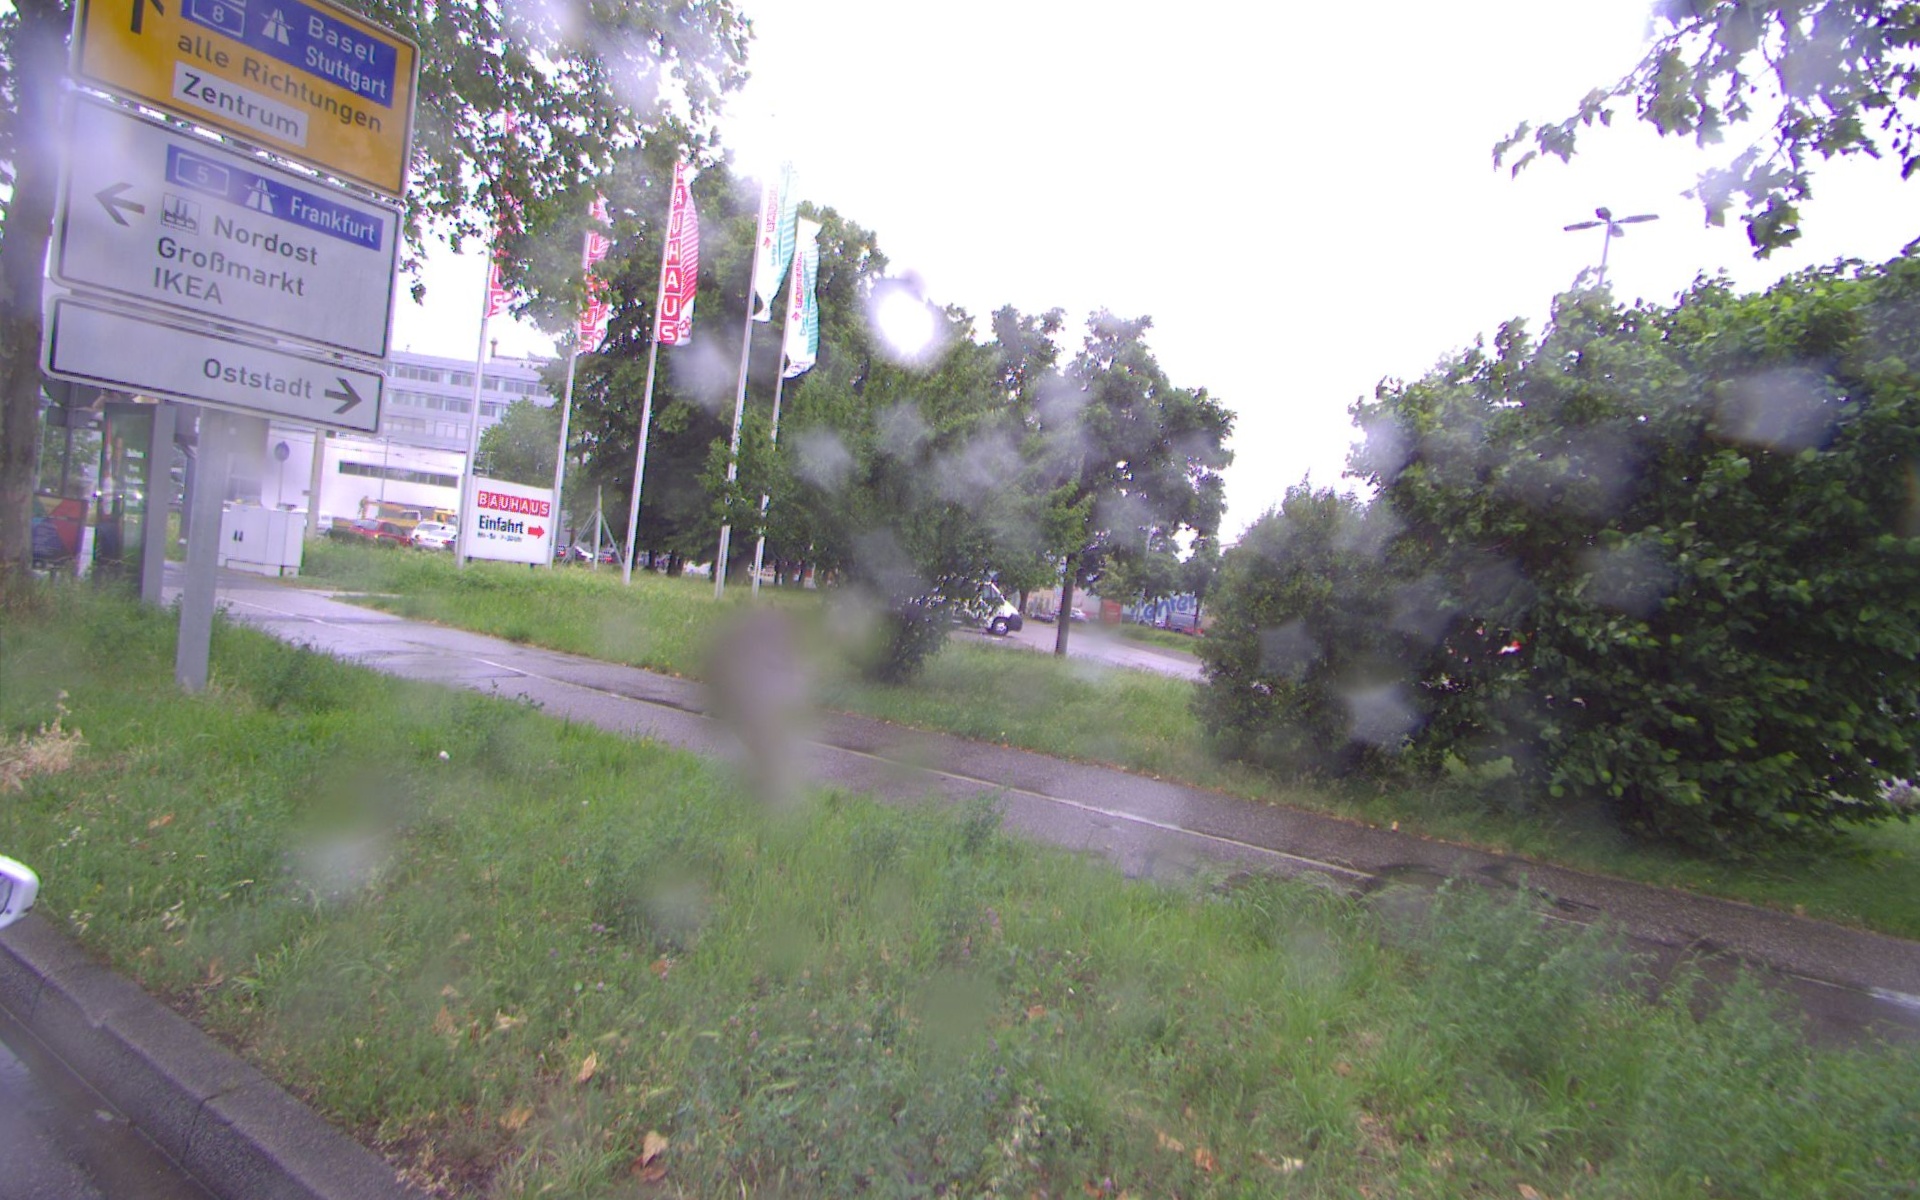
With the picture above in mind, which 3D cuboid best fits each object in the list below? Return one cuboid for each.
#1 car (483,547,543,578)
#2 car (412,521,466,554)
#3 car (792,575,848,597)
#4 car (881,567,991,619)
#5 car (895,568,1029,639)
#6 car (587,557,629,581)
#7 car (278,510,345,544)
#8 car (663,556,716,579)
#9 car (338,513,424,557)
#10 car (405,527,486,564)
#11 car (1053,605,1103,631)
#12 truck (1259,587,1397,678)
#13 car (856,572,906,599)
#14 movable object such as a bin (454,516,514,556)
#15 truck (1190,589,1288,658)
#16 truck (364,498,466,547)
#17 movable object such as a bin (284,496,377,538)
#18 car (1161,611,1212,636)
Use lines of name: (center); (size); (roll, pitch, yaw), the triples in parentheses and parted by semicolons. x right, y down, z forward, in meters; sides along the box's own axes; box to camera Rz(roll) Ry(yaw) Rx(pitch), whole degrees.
car: (-28.699, -2.374, 64.705); (1.892, 1.606, 4.622); (6, 0, -3)
car: (-41.108, -4.892, 79.444); (1.964, 2.152, 4.684); (6, 0, -5)
car: (-15.412, -1.585, 111.068); (5.853, 1.754, 2.276); (6, 1, -3)
car: (-1.387, -0.407, 57.643); (5.955, 2.232, 2.190); (7, 1, -2)
car: (0.031, 0.129, 40.917); (5.015, 2.232, 2.188); (7, 1, -9)
car: (-28.917, -2.530, 82.752); (1.892, 1.606, 4.623); (6, 0, -4)
car: (-44.780, -5.028, 69.610); (1.709, 1.746, 4.245); (8, -1, 0)
car: (-26.521, -3.168, 98.618); (4.579, 1.606, 1.911); (7, 0, -33)
car: (-26.908, -2.988, 46.889); (1.647, 1.508, 3.817); (7, -1, 1)
car: (-27.714, -2.892, 54.386); (1.892, 1.509, 4.828); (6, 0, -2)
car: (11.917, 1.852, 101.822); (4.612, 2.038, 2.001); (7, 0, 3)
truck: (16.707, 1.338, 46.403); (2.508, 3.513, 8.008); (8, 0, -4)
car: (-7.852, -1.445, 100.592); (4.670, 2.241, 1.964); (6, 1, -2)
movable object such as a bin: (-50.177, -6.723, 106.152); (3.268, 3.552, 6.316); (6, 1, -3)
truck: (16.524, 1.335, 60.333); (2.507, 3.511, 9.397); (8, 0, -2)
truck: (-52.670, -7.440, 97.334); (7.747, 3.552, 3.325); (7, 1, -4)
movable object such as a bin: (-60.585, -7.925, 97.010); (6.601, 3.034, 3.324); (7, 1, -4)
car: (23.613, 2.423, 104.929); (4.613, 2.039, 1.999); (7, 1, 1)
